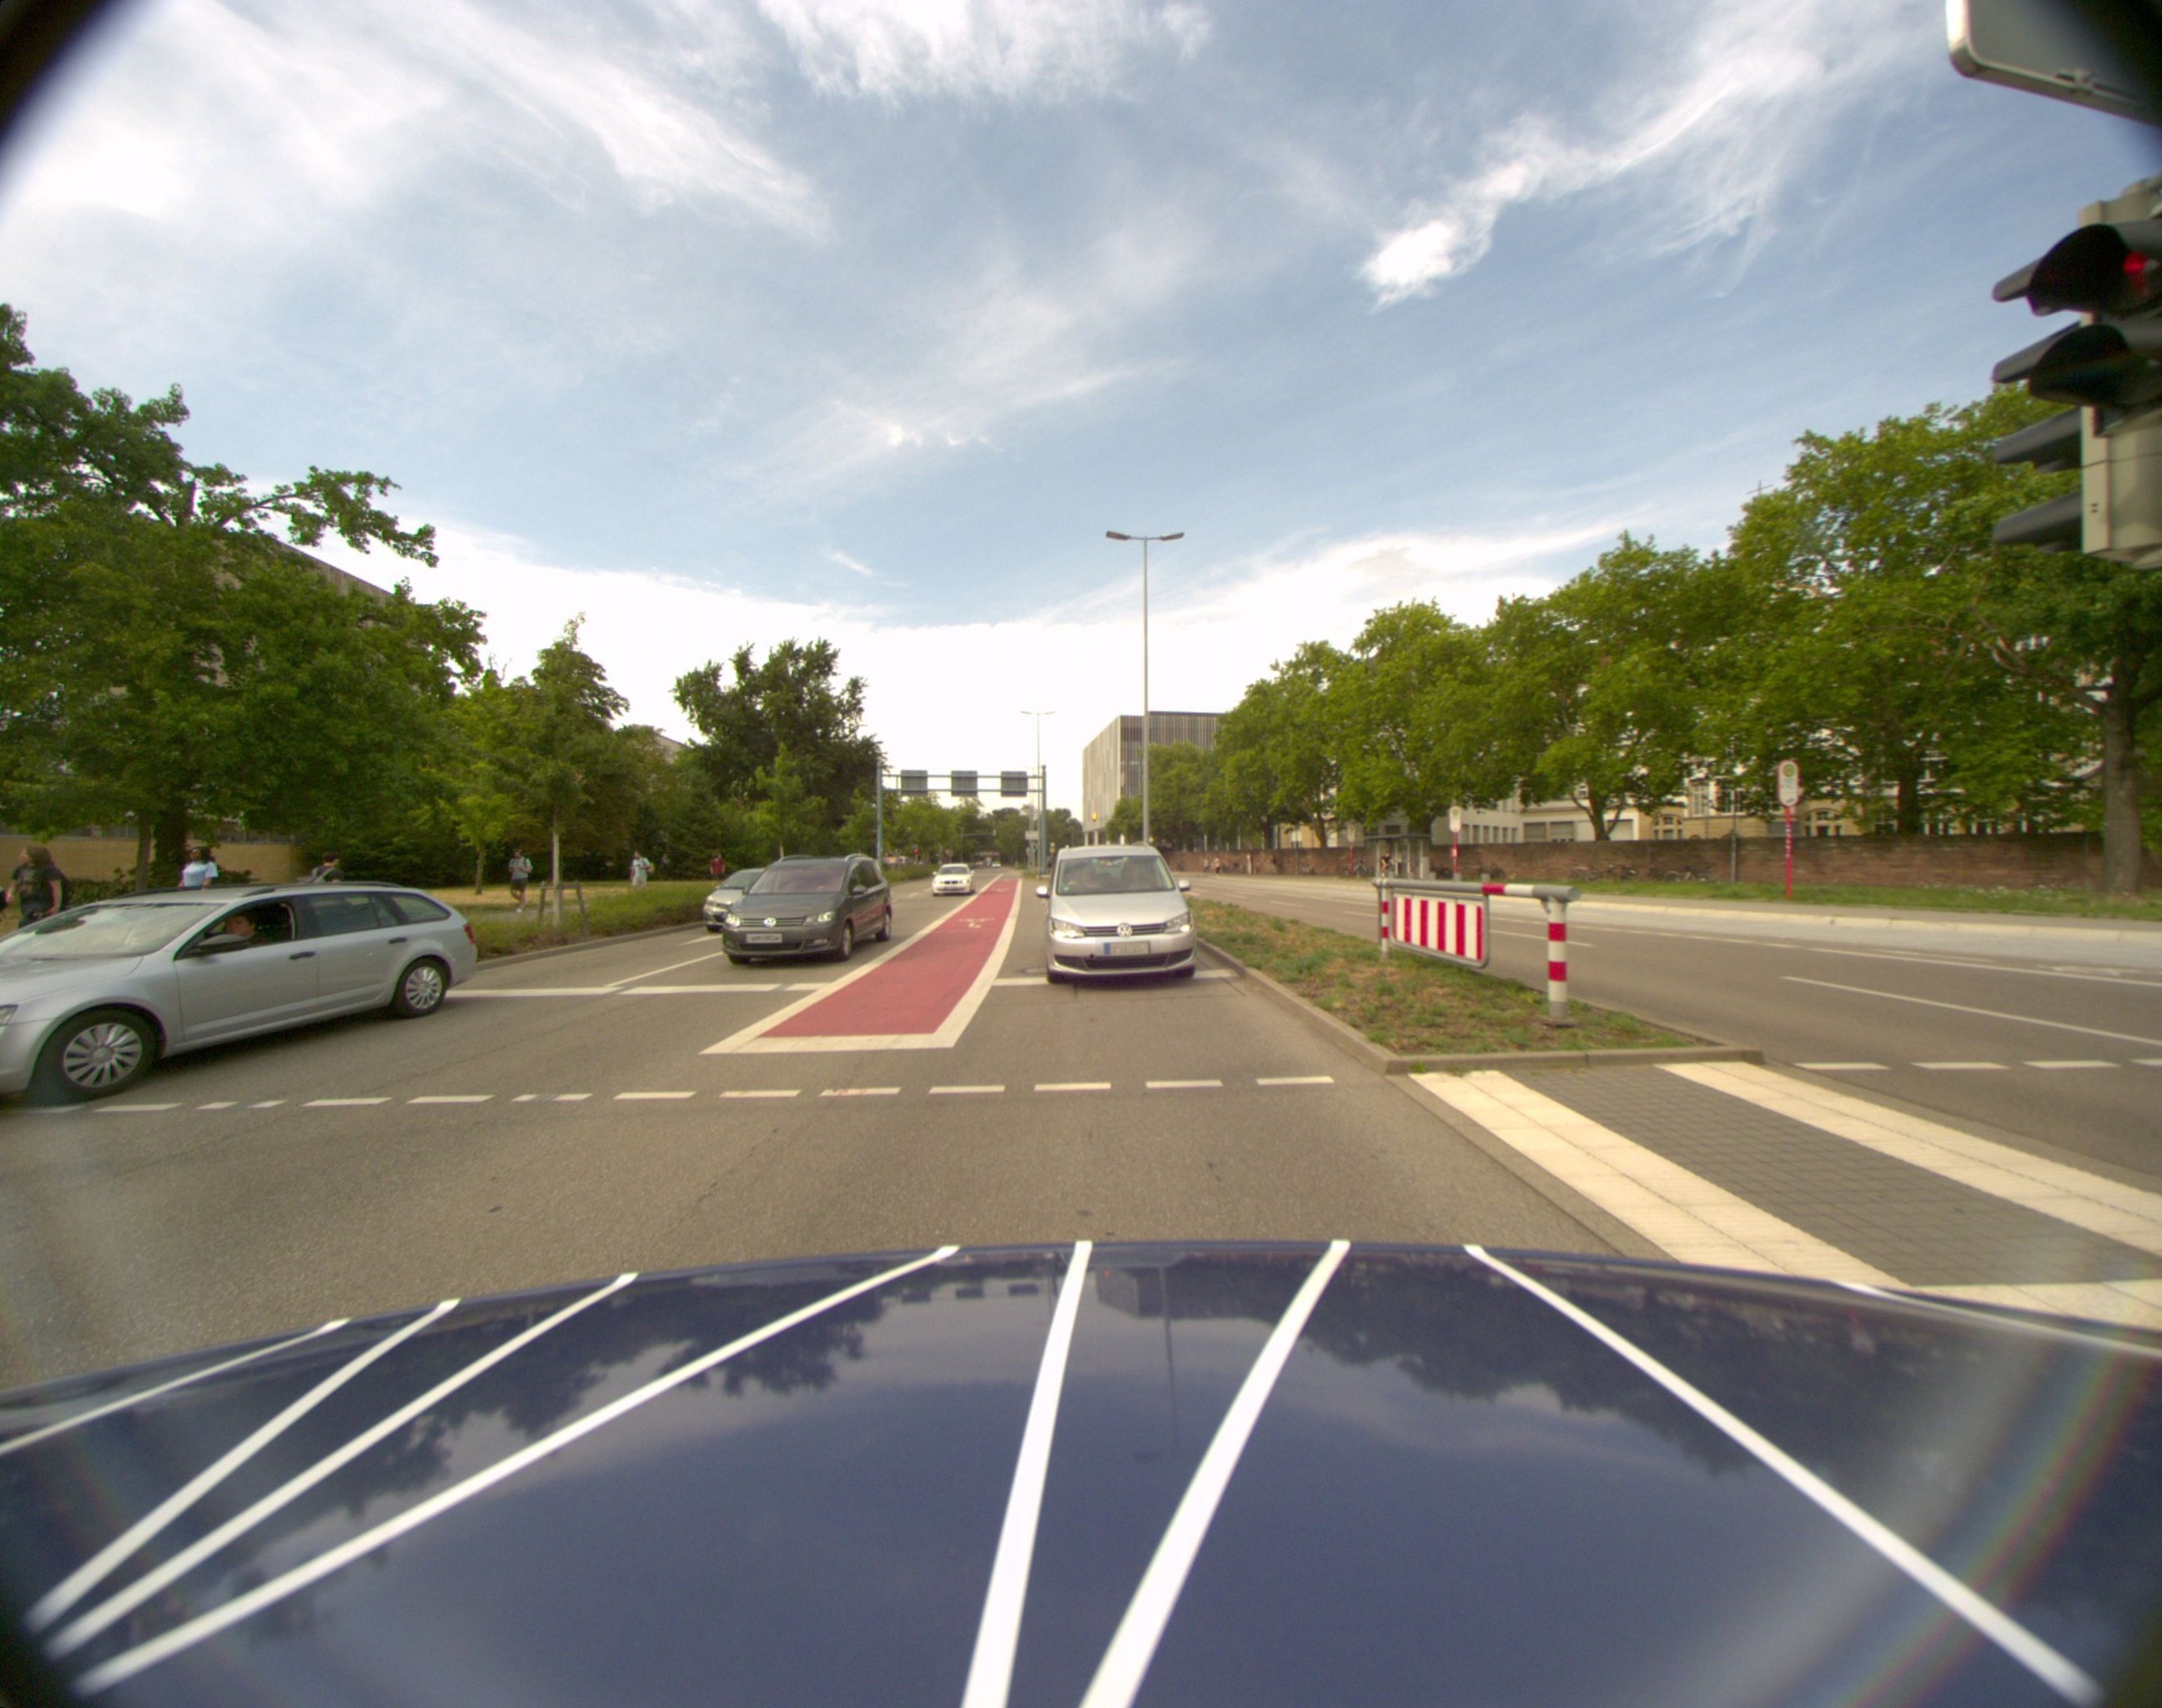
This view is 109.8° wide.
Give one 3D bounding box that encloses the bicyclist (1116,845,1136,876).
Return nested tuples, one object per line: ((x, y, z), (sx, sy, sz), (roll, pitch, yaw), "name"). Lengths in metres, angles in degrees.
((2.512, 0.381, 42.215), (0.779, 1.700, 1.084), (2, -1, -14), "bicyclist")

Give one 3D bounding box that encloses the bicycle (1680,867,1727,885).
((29.635, 1.036, 36.216), (0.359, 0.859, 1.704), (2, -1, -30), "bicycle")

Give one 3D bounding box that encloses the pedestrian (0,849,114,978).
((-14.382, 0.800, 10.539), (0.840, 1.701, 0.798), (-2, 1, -19), "pedestrian")

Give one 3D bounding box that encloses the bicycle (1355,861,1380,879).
((19.881, 1.090, 52.617), (2.103, 1.182, 0.756), (3, -1, -44), "bicycle")

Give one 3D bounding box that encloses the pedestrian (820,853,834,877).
((-17.972, 0.772, 53.820), (0.714, 1.701, 0.694), (-2, 1, -4), "pedestrian")

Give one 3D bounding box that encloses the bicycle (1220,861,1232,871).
((14.087, 1.173, 73.869), (0.433, 0.882, 1.574), (-4, 0, -15), "bicycle")

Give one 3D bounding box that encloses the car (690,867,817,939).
((-8.029, 1.129, 19.009), (1.671, 1.481, 3.874), (-2, 1, -4), "car")

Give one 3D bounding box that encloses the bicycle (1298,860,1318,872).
((18.025, 0.985, 60.349), (0.662, 0.882, 1.573), (-4, 0, -24), "bicycle")

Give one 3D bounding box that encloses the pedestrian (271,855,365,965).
((-12.390, 0.889, 12.355), (0.734, 1.701, 0.693), (-2, 1, -1), "pedestrian")

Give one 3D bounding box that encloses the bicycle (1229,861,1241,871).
((14.651, 1.163, 72.288), (0.433, 0.882, 1.574), (-4, 0, -15), "bicycle")

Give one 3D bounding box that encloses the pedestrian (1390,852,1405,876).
((21.480, 0.674, 51.548), (0.569, 1.612, 0.753), (-3, 1, -26), "pedestrian")

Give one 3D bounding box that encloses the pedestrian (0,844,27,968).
((-15.217, 0.723, 10.227), (0.840, 1.701, 0.798), (-2, 1, -19), "pedestrian")

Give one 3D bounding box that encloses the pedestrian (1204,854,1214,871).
((12.195, 0.799, 72.407), (0.755, 1.612, 0.665), (-2, 1, -10), "pedestrian")

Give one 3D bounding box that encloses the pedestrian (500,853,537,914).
((-15.896, 0.833, 21.478), (0.544, 1.686, 0.694), (1, 0, -8), "pedestrian")

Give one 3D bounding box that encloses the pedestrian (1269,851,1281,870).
((16.458, 0.550, 64.480), (0.664, 1.612, 0.756), (-1, 1, 45), "pedestrian")

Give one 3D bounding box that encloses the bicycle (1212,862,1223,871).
((13.585, 1.271, 75.693), (0.433, 0.882, 1.574), (-4, 0, -15), "bicycle")

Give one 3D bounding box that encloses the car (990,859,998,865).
((-26.037, 2.286, 226.707), (1.999, 1.565, 3.999), (-2, 1, -1), "car")

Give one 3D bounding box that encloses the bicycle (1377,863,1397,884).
((15.552, 0.969, 38.628), (0.505, 0.930, 1.972), (0, 2, 9), "bicycle")

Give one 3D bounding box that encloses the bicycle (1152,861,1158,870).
((9.375, 1.446, 96.612), (0.513, 1.202, 1.395), (-2, 1, -4), "bicycle")

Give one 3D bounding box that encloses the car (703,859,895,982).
((-4.629, 0.975, 13.300), (1.759, 1.641, 4.684), (-2, 0, -3), "car")

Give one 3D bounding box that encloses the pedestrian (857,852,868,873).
((-18.373, 0.731, 63.844), (0.714, 1.701, 0.694), (-2, 1, -4), "pedestrian")

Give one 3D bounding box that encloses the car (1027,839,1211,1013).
((0.416, 0.723, 10.078), (1.824, 1.724, 4.528), (-2, 1, 1), "car")

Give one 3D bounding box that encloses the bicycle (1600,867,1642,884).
((27.792, 1.085, 39.124), (0.359, 0.859, 1.806), (2, -1, -25), "bicycle")

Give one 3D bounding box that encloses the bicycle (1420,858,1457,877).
((22.881, 0.880, 48.672), (0.760, 1.182, 2.094), (2, -1, -26), "bicycle")

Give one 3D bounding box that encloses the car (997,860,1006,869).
((-18.214, 2.385, 173.337), (1.999, 2.002, 3.997), (-2, 1, -6), "car")

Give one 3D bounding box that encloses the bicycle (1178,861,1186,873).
((11.305, 1.454, 85.130), (0.513, 1.202, 1.395), (-2, 1, -4), "bicycle")

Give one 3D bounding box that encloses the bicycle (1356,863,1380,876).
((20.434, 1.115, 54.181), (0.662, 0.882, 1.573), (-4, 0, -24), "bicycle")

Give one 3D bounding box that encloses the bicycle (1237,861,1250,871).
((14.999, 1.141, 70.171), (0.433, 0.882, 1.574), (-4, 0, -15), "bicycle")

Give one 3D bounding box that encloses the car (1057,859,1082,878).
((-1.010, 1.189, 64.322), (1.789, 1.481, 4.128), (2, 0, -4), "car")

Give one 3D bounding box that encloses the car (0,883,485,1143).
((-7.823, 1.122, 6.539), (1.824, 1.465, 4.527), (-2, 0, -1), "car")

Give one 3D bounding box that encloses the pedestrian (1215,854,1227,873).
((12.014, 0.840, 65.367), (0.755, 1.612, 0.665), (-2, 1, -10), "pedestrian")

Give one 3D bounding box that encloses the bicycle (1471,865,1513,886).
((24.416, 1.269, 45.171), (0.760, 1.182, 2.094), (2, -1, -26), "bicycle")

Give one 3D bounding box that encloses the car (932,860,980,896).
((-5.717, 1.081, 35.222), (1.760, 1.450, 4.221), (-2, 0, -4), "car")

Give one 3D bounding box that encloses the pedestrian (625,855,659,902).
((-16.403, 0.906, 28.423), (0.842, 1.701, 0.694), (-2, 1, -8), "pedestrian")

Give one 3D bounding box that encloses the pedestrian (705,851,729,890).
((-16.417, 0.741, 34.308), (0.714, 1.701, 0.694), (-2, 1, -4), "pedestrian")

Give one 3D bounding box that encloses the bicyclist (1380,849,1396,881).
((15.542, 0.553, 38.514), (0.579, 1.547, 0.798), (0, 2, 10), "bicyclist")

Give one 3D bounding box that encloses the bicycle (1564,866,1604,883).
((26.975, 1.103, 40.774), (0.359, 0.859, 1.818), (2, -1, -27), "bicycle")

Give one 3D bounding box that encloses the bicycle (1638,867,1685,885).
((28.550, 1.069, 37.406), (0.359, 0.859, 1.887), (2, -1, -23), "bicycle")

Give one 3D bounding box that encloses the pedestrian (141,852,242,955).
((-15.371, 0.824, 13.152), (0.714, 1.701, 0.799), (-2, 1, -8), "pedestrian")
